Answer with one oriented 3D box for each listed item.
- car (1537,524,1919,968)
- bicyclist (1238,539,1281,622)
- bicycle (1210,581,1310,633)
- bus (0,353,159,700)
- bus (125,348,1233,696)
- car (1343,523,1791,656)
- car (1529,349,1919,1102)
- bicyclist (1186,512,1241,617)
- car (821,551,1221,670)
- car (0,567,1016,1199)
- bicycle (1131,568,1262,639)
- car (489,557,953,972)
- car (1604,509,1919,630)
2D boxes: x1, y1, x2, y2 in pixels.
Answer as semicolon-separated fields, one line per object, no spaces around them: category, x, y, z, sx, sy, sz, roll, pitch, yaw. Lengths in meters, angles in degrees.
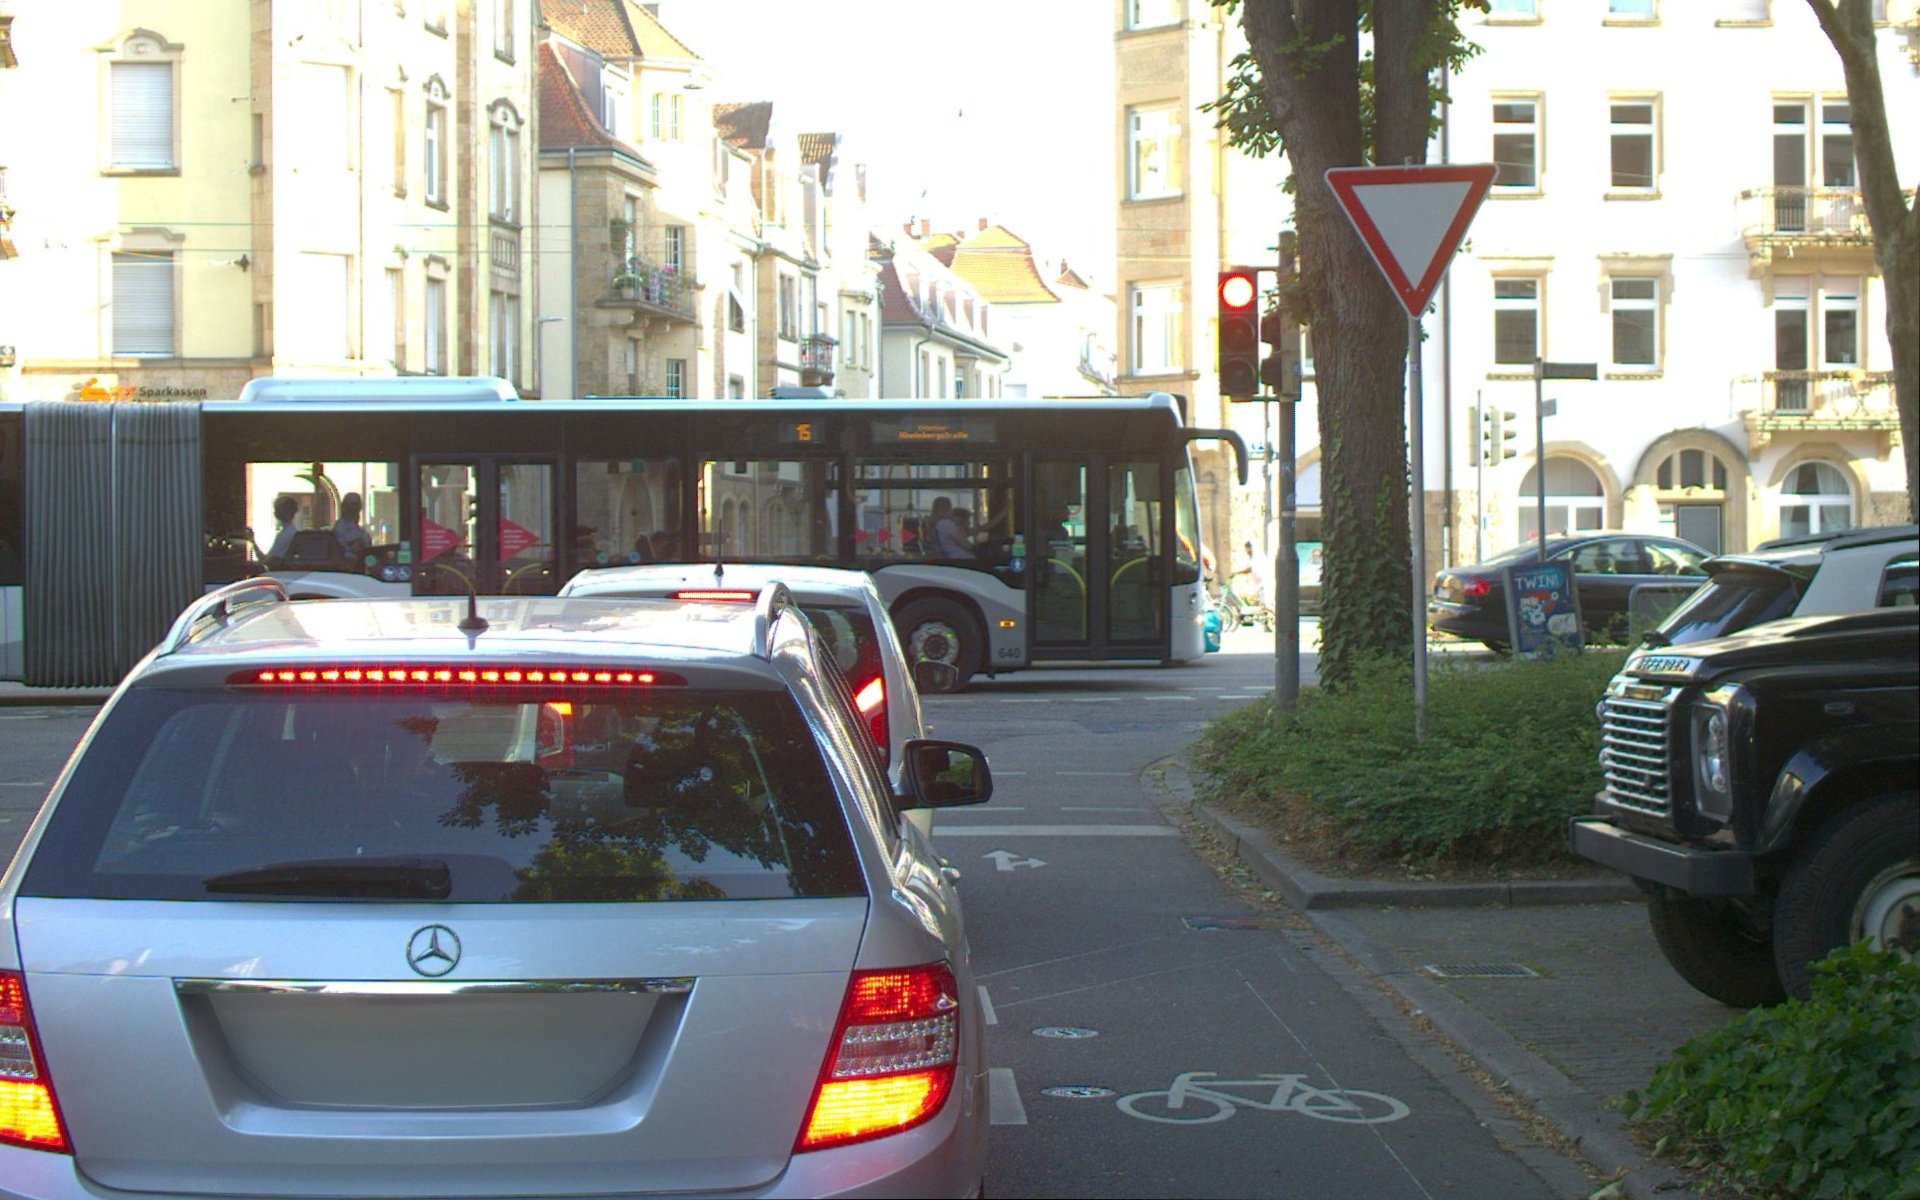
car;4.282;0.480;13.283;3.723;1.564;1.709;-1;1;-4
bicyclist;5.128;-0.337;58.875;0.643;1.421;0.637;0;1;-5
bicycle;5.142;0.120;58.879;1.617;0.873;0.637;0;1;-5
bus;-11.967;-0.659;32.755;8.173;3.190;2.912;-1;1;-8
bus;-2.749;-0.804;34.060;10.450;3.190;2.912;-1;1;-8
car;6.854;-0.134;39.019;4.687;1.424;1.719;-1;1;-8
car;4.127;0.284;10.313;4.465;2.029;1.701;-1;0;-3
bicyclist;4.501;-0.627;61.051;0.891;1.853;0.637;0;1;-5
car;0.644;0.096;38.143;4.195;1.232;1.719;-1;1;-8
car;-0.903;0.673;7.115;1.777;1.447;4.548;0;1;-2
bicycle;4.198;0.062;61.036;2.256;1.242;0.637;0;1;-5
car;-0.923;0.553;14.242;1.619;1.442;4.345;0;1;-2
car;10.077;-0.389;42.959;3.685;1.444;1.516;-1;1;-8
